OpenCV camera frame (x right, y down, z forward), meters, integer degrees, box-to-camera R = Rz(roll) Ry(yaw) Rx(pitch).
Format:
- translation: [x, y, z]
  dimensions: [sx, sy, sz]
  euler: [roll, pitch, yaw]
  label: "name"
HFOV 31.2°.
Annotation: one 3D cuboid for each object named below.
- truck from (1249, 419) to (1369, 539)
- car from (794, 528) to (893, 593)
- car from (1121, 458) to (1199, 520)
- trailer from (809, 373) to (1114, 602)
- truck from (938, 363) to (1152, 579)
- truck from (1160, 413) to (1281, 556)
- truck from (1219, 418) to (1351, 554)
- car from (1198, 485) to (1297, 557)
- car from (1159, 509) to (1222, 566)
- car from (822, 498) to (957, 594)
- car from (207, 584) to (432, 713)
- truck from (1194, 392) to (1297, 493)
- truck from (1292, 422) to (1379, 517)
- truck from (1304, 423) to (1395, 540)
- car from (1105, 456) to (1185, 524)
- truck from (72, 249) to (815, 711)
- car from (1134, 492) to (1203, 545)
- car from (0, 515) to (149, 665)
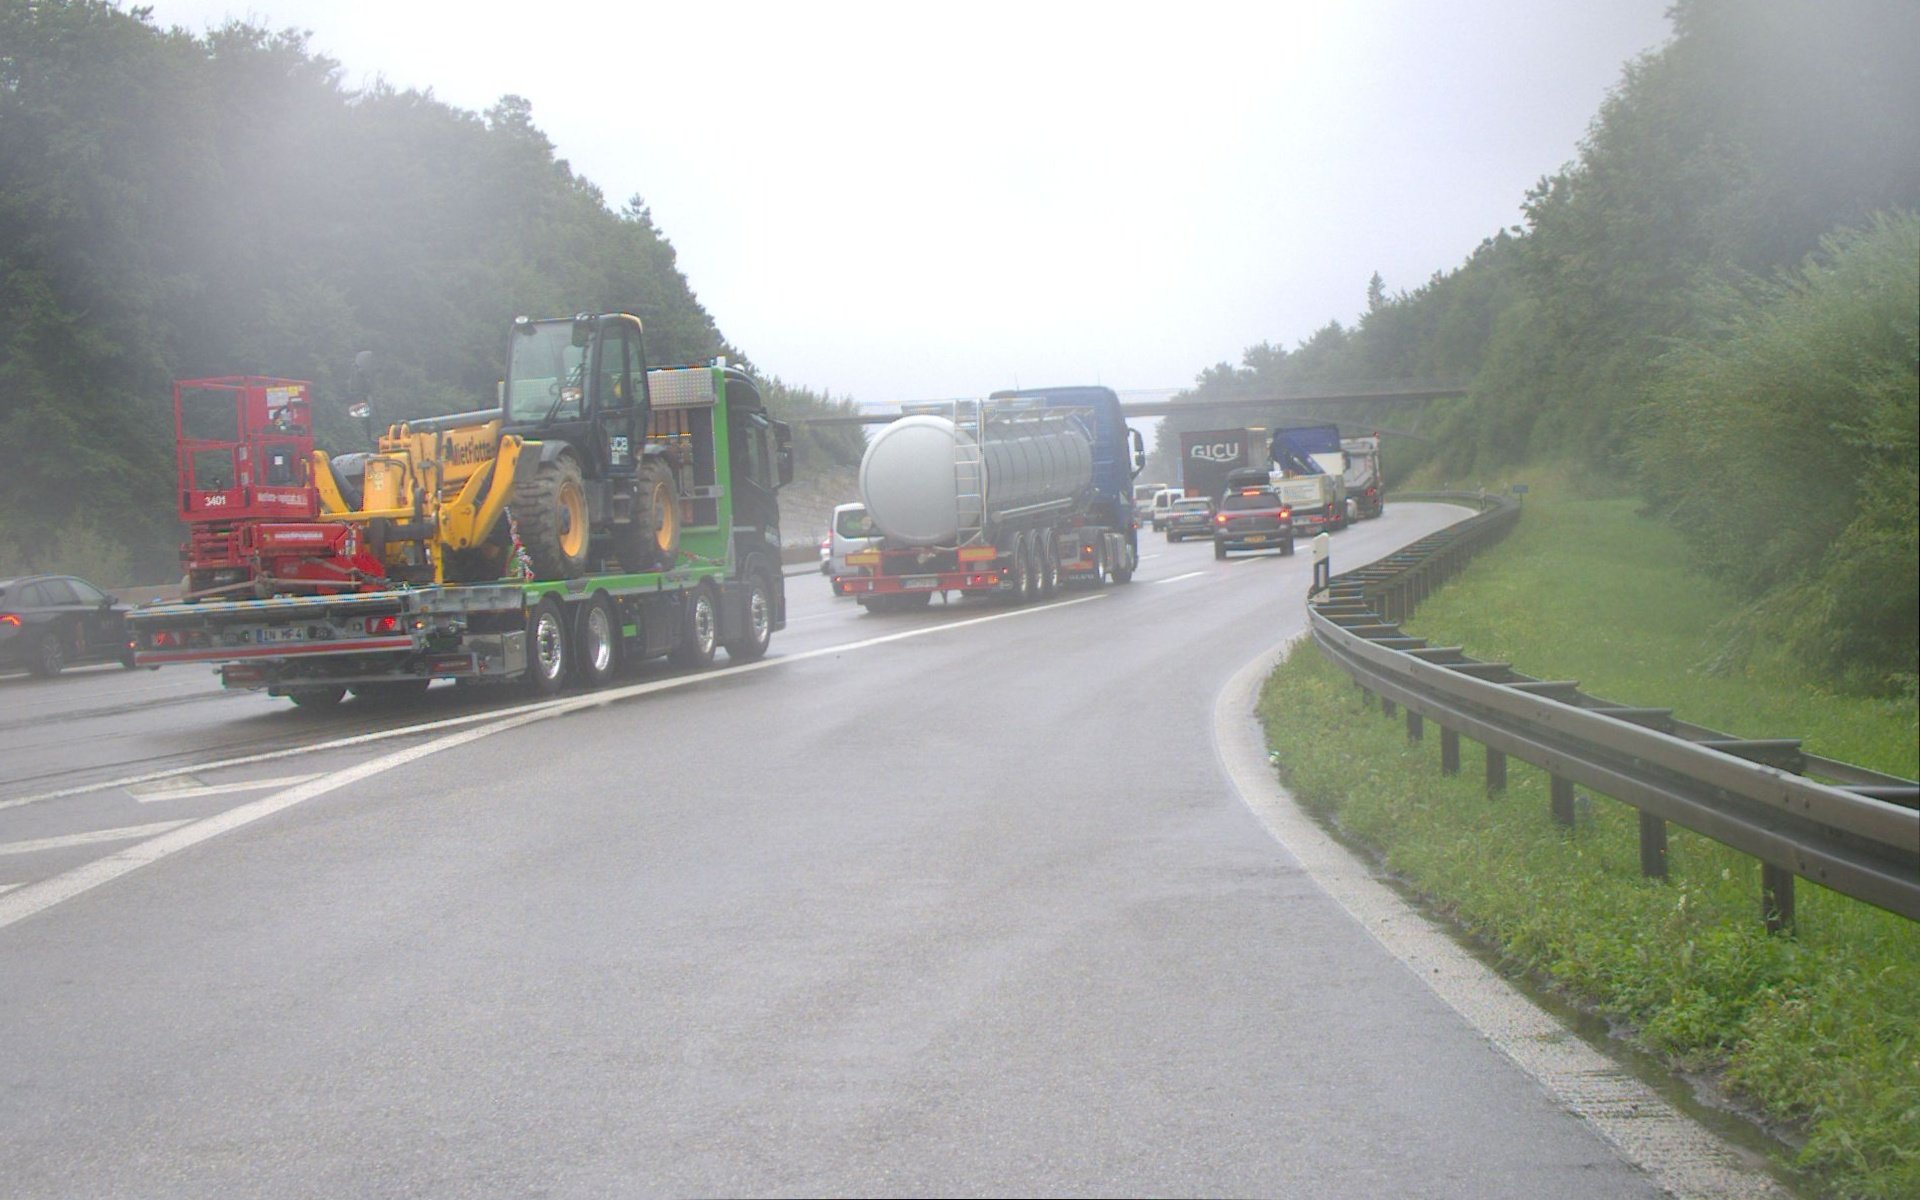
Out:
- translation: [13.321, -4.490, 130.381]
  dimensions: [3.509, 4.253, 10.598]
  euler: [1, 1, 11]
  label: "truck"
- translation: [-3.330, -1.155, 99.400]
  dimensions: [1.994, 1.766, 4.133]
  euler: [-2, 1, 10]
  label: "car"
- translation: [10.274, -5.631, 175.969]
  dimensions: [3.247, 2.992, 6.770]
  euler: [1, 1, 10]
  label: "car"
- translation: [0.229, -1.875, 56.406]
  dimensions: [2.875, 3.277, 10.074]
  euler: [-3, 2, 12]
  label: "trailer"
- translation: [1.630, -2.371, 63.192]
  dimensions: [2.878, 3.680, 5.054]
  euler: [-3, 2, 12]
  label: "truck"
- translation: [10.556, -4.533, 138.034]
  dimensions: [3.756, 5.480, 10.168]
  euler: [1, 1, 10]
  label: "truck"
- translation: [10.927, -3.817, 114.439]
  dimensions: [3.601, 4.091, 11.557]
  euler: [-3, 2, 8]
  label: "truck"
- translation: [6.845, -1.859, 81.565]
  dimensions: [1.994, 1.630, 3.998]
  euler: [1, 1, 10]
  label: "car"
- translation: [7.888, -2.130, 117.237]
  dimensions: [1.798, 1.897, 3.999]
  euler: [0, 1, 9]
  label: "car"
- translation: [-1.351, -1.085, 67.650]
  dimensions: [1.820, 1.761, 3.999]
  euler: [-2, 1, 11]
  label: "car"
- translation: [-9.070, 0.651, 48.975]
  dimensions: [1.786, 1.721, 3.998]
  euler: [1, 1, 11]
  label: "car"
- translation: [13.238, -7.185, 158.411]
  dimensions: [3.578, 4.081, 10.875]
  euler: [-2, 0, 10]
  label: "truck"
- translation: [16.999, -5.811, 155.372]
  dimensions: [3.756, 3.957, 11.057]
  euler: [1, 1, 7]
  label: "truck"
- translation: [20.128, -6.015, 177.121]
  dimensions: [4.337, 5.744, 9.728]
  euler: [1, 1, 8]
  label: "truck"
- translation: [8.637, -5.093, 159.732]
  dimensions: [3.096, 2.992, 6.771]
  euler: [1, 1, 8]
  label: "car"
- translation: [-4.462, -1.145, 33.629]
  dimensions: [2.832, 3.576, 11.791]
  euler: [-3, 1, 13]
  label: "truck"
- translation: [12.181, -4.719, 200.272]
  dimensions: [3.247, 2.992, 6.770]
  euler: [1, 1, 10]
  label: "car"
- translation: [-13.143, -0.161, 48.287]
  dimensions: [1.799, 2.007, 3.998]
  euler: [1, 1, 13]
  label: "car"
